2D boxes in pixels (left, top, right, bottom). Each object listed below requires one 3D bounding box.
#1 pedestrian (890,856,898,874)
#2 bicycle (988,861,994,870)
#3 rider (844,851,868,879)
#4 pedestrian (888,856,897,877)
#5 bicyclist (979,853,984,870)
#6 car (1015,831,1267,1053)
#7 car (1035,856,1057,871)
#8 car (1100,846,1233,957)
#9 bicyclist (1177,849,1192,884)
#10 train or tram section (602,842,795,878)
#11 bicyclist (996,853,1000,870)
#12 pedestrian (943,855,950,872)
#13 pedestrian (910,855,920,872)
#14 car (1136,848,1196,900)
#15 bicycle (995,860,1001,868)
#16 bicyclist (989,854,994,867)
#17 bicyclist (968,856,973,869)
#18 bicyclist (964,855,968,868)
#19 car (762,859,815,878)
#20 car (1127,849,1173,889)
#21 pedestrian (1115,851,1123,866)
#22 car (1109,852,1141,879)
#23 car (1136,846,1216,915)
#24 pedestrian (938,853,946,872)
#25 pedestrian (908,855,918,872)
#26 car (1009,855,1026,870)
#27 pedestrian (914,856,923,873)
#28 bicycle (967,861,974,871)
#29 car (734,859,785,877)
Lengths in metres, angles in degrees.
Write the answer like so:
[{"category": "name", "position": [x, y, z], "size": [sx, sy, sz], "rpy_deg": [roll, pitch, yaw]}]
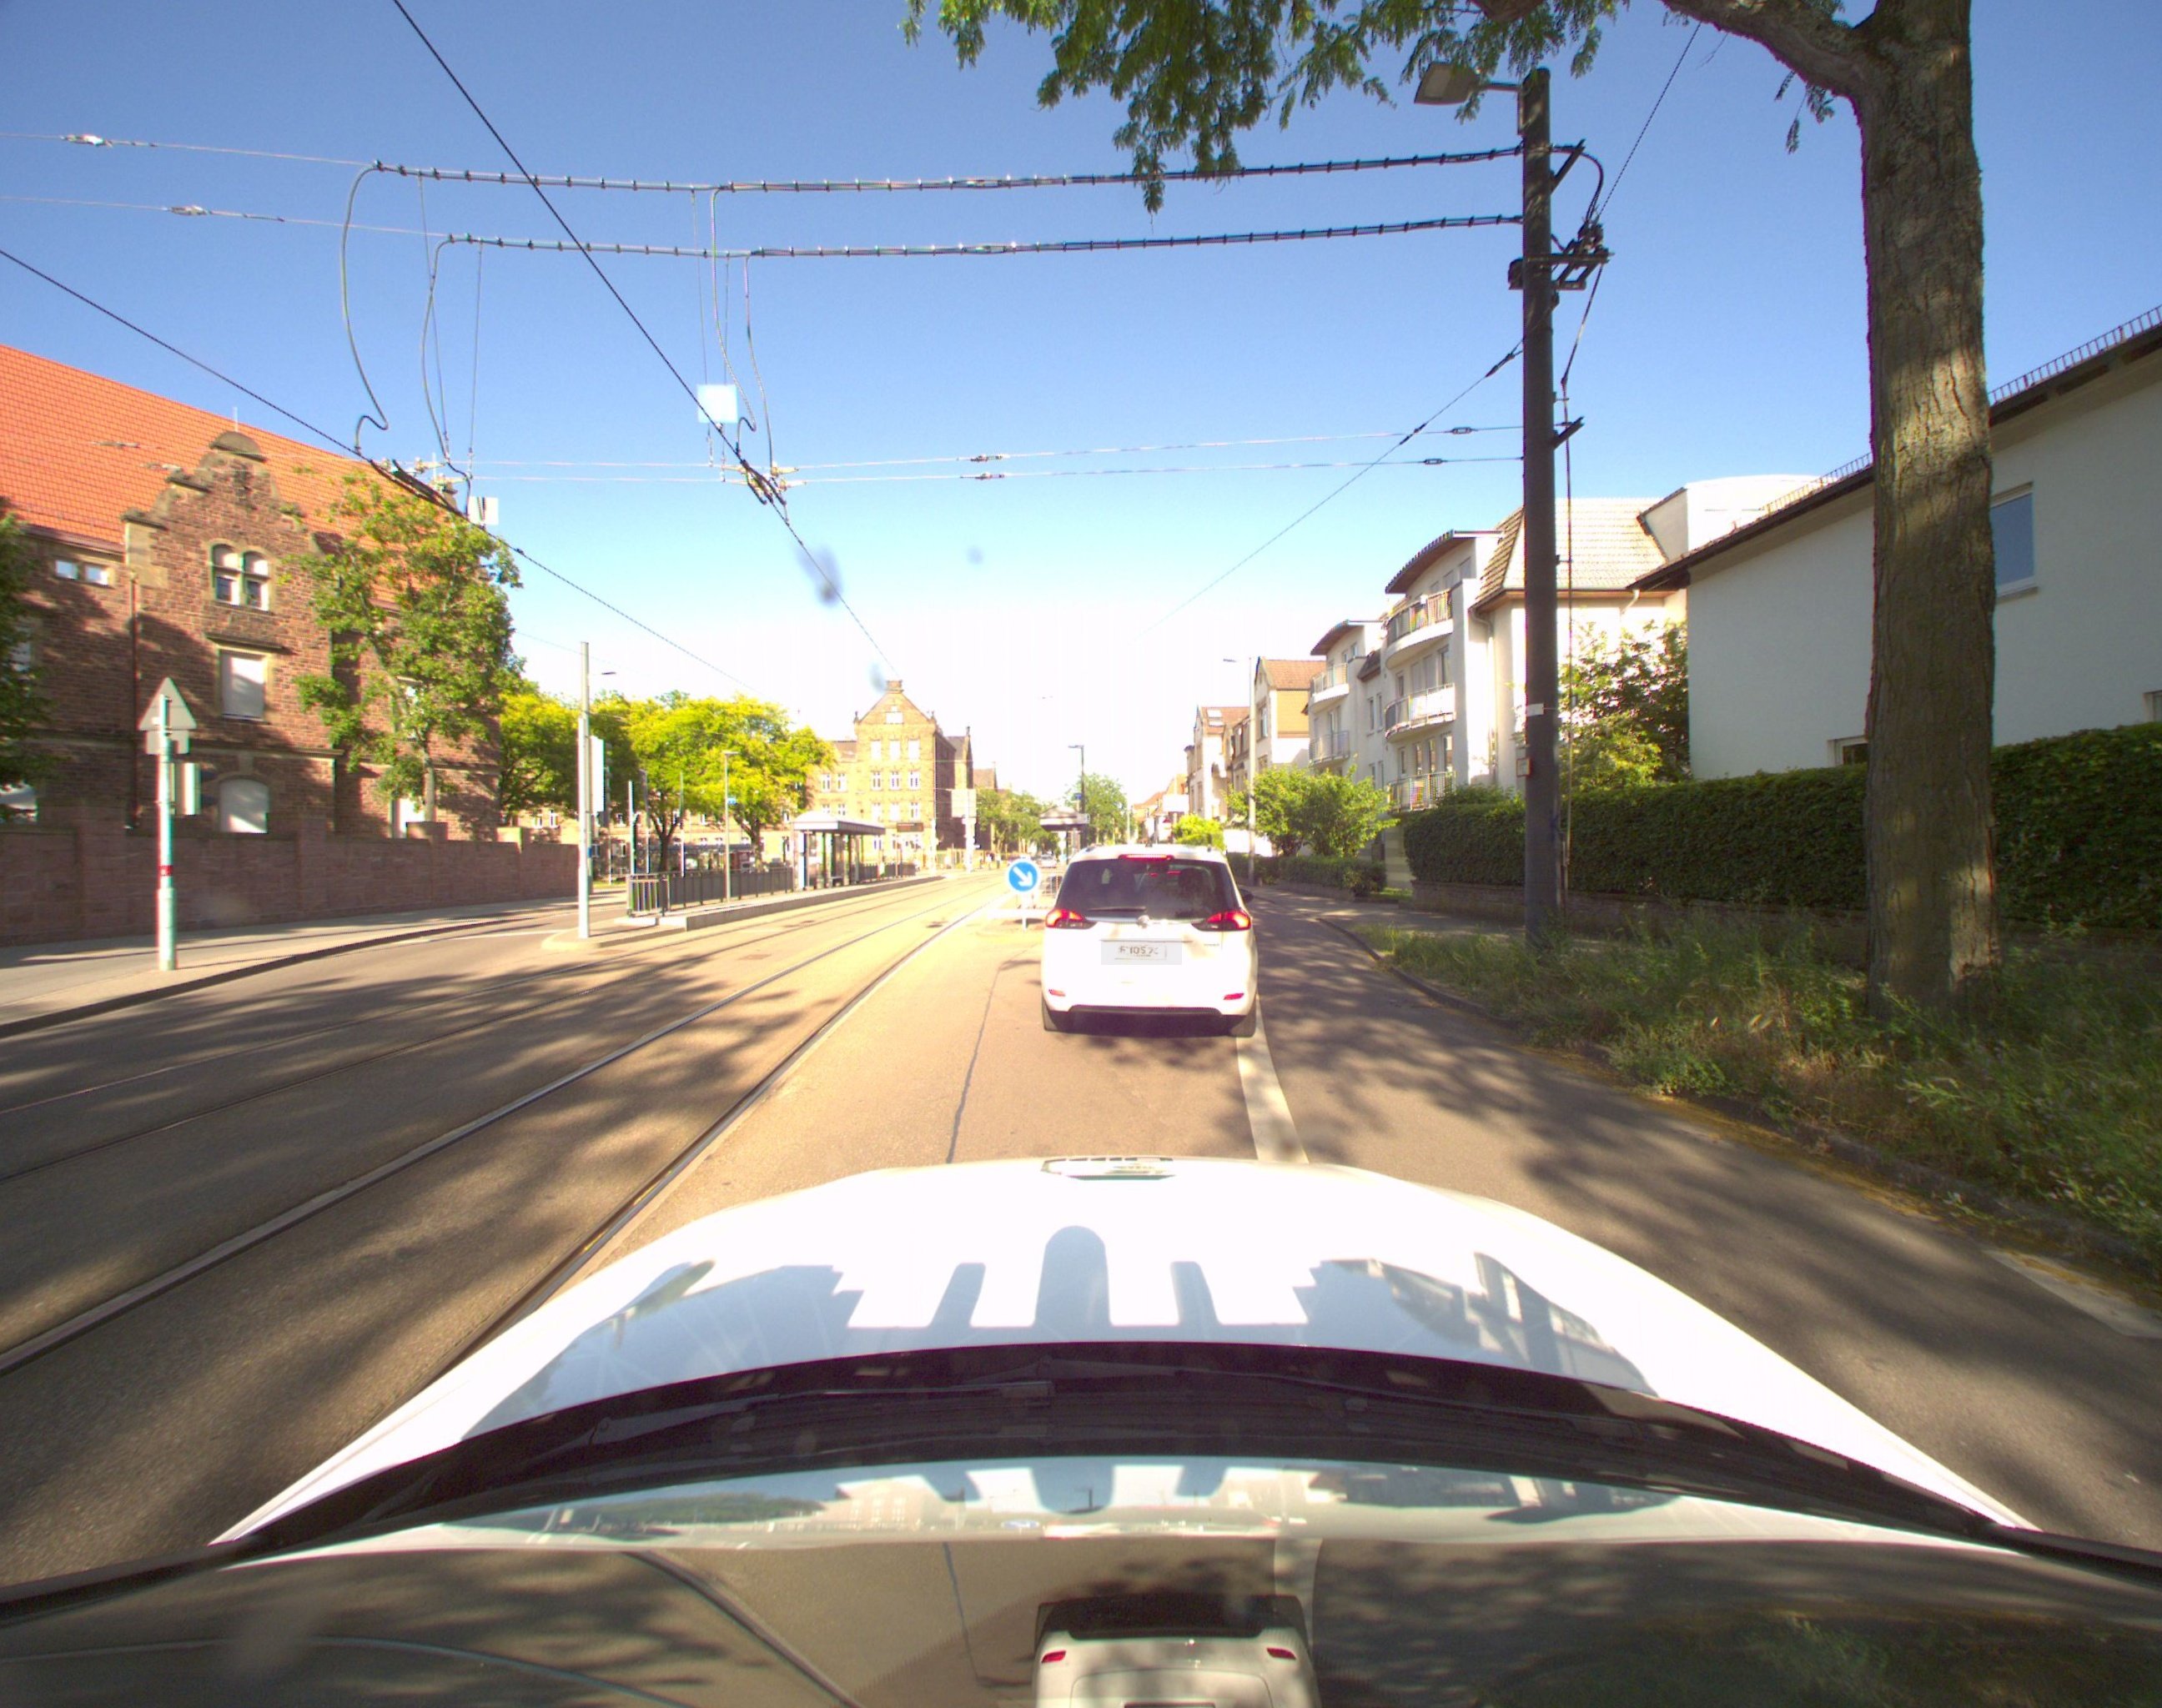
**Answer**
[{"category": "pedestrian", "position": [-18.609, 1.109, 80.858], "size": [0.768, 1.774, 0.717], "rpy_deg": [0, -1, -15]}, {"category": "bicycle", "position": [-11.038, 1.385, 99.852], "size": [0.507, 1.077, 1.739], "rpy_deg": [0, -1, 2]}, {"category": "rider", "position": [-14.279, 0.691, 51.750], "size": [0.793, 1.782, 2.488], "rpy_deg": [0, -1, 1]}, {"category": "pedestrian", "position": [-17.931, 1.207, 77.349], "size": [0.795, 2.014, 1.042], "rpy_deg": [0, -1, -12]}, {"category": "bicyclist", "position": [-11.508, 0.868, 94.558], "size": [0.496, 2.014, 0.572], "rpy_deg": [0, -1, 1]}, {"category": "car", "position": [0.757, 0.669, 8.206], "size": [1.896, 1.661, 4.010], "rpy_deg": [-1, 0, 9]}, {"category": "car", "position": [-4.072, 1.103, 94.244], "size": [1.749, 1.716, 3.980], "rpy_deg": [0, -1, -14]}, {"category": "car", "position": [1.556, 0.692, 13.864], "size": [1.896, 1.597, 4.010], "rpy_deg": [-1, 0, 9]}, {"category": "bicyclist", "position": [5.067, 0.607, 39.872], "size": [0.673, 1.658, 0.745], "rpy_deg": [-1, 0, 3]}, {"category": "train or tram section", "position": [-37.855, 0.576, 81.137], "size": [17.346, 3.154, 3.344], "rpy_deg": [-1, -1, -3]}, {"category": "bicyclist", "position": [-10.205, 0.903, 99.955], "size": [0.486, 2.014, 0.502], "rpy_deg": [0, -1, 1]}, {"category": "pedestrian", "position": [-16.145, 1.109, 97.641], "size": [0.686, 2.014, 0.619], "rpy_deg": [0, -1, 7]}, {"category": "pedestrian", "position": [-18.220, 1.047, 89.502], "size": [0.802, 1.901, 0.747], "rpy_deg": [-1, -1, 16]}, {"category": "car", "position": [2.971, 0.656, 28.342], "size": [1.897, 1.661, 4.007], "rpy_deg": [-1, 0, 6]}, {"category": "bicycle", "position": [-10.202, 1.215, 99.888], "size": [0.485, 0.971, 1.406], "rpy_deg": [0, -1, 2]}, {"category": "bicyclist", "position": [-11.024, 0.794, 99.951], "size": [0.529, 1.477, 0.572], "rpy_deg": [0, -1, 1]}, {"category": "bicyclist", "position": [-12.471, 0.924, 91.818], "size": [0.529, 1.477, 0.572], "rpy_deg": [0, -1, 1]}, {"category": "bicyclist", "position": [-12.275, 0.811, 86.841], "size": [0.312, 1.444, 0.384], "rpy_deg": [0, -1, 1]}, {"category": "car", "position": [-25.456, 1.239, 70.964], "size": [3.976, 1.630, 1.817], "rpy_deg": [0, -1, -2]}, {"category": "car", "position": [2.990, 0.620, 36.185], "size": [1.899, 1.661, 4.003], "rpy_deg": [-1, 0, 3]}, {"category": "pedestrian", "position": [4.948, 0.583, 106.337], "size": [0.802, 1.901, 0.747], "rpy_deg": [-1, -1, 16]}, {"category": "car", "position": [2.834, 0.753, 53.178], "size": [1.901, 1.661, 4.000], "rpy_deg": [-1, 0, 0]}, {"category": "car", "position": [2.616, 0.642, 21.685], "size": [1.896, 1.624, 4.010], "rpy_deg": [-1, 0, 9]}, {"category": "pedestrian", "position": [-14.563, 0.867, 85.509], "size": [0.796, 2.014, 0.717], "rpy_deg": [0, -1, -15]}, {"category": "pedestrian", "position": [-18.122, 1.016, 87.689], "size": [0.802, 1.901, 0.747], "rpy_deg": [-1, -1, 16]}, {"category": "car", "position": [-7.825, 1.060, 100.608], "size": [1.740, 1.716, 4.001], "rpy_deg": [0, -1, 2]}, {"category": "pedestrian", "position": [-18.925, 1.257, 95.012], "size": [0.711, 2.014, 0.802], "rpy_deg": [-1, -1, 31]}, {"category": "bicycle", "position": [-12.459, 1.330, 91.784], "size": [0.507, 1.077, 1.739], "rpy_deg": [0, -1, 2]}, {"category": "car", "position": [-29.664, 1.315, 75.206], "size": [3.976, 1.630, 1.817], "rpy_deg": [0, -1, -2]}]
